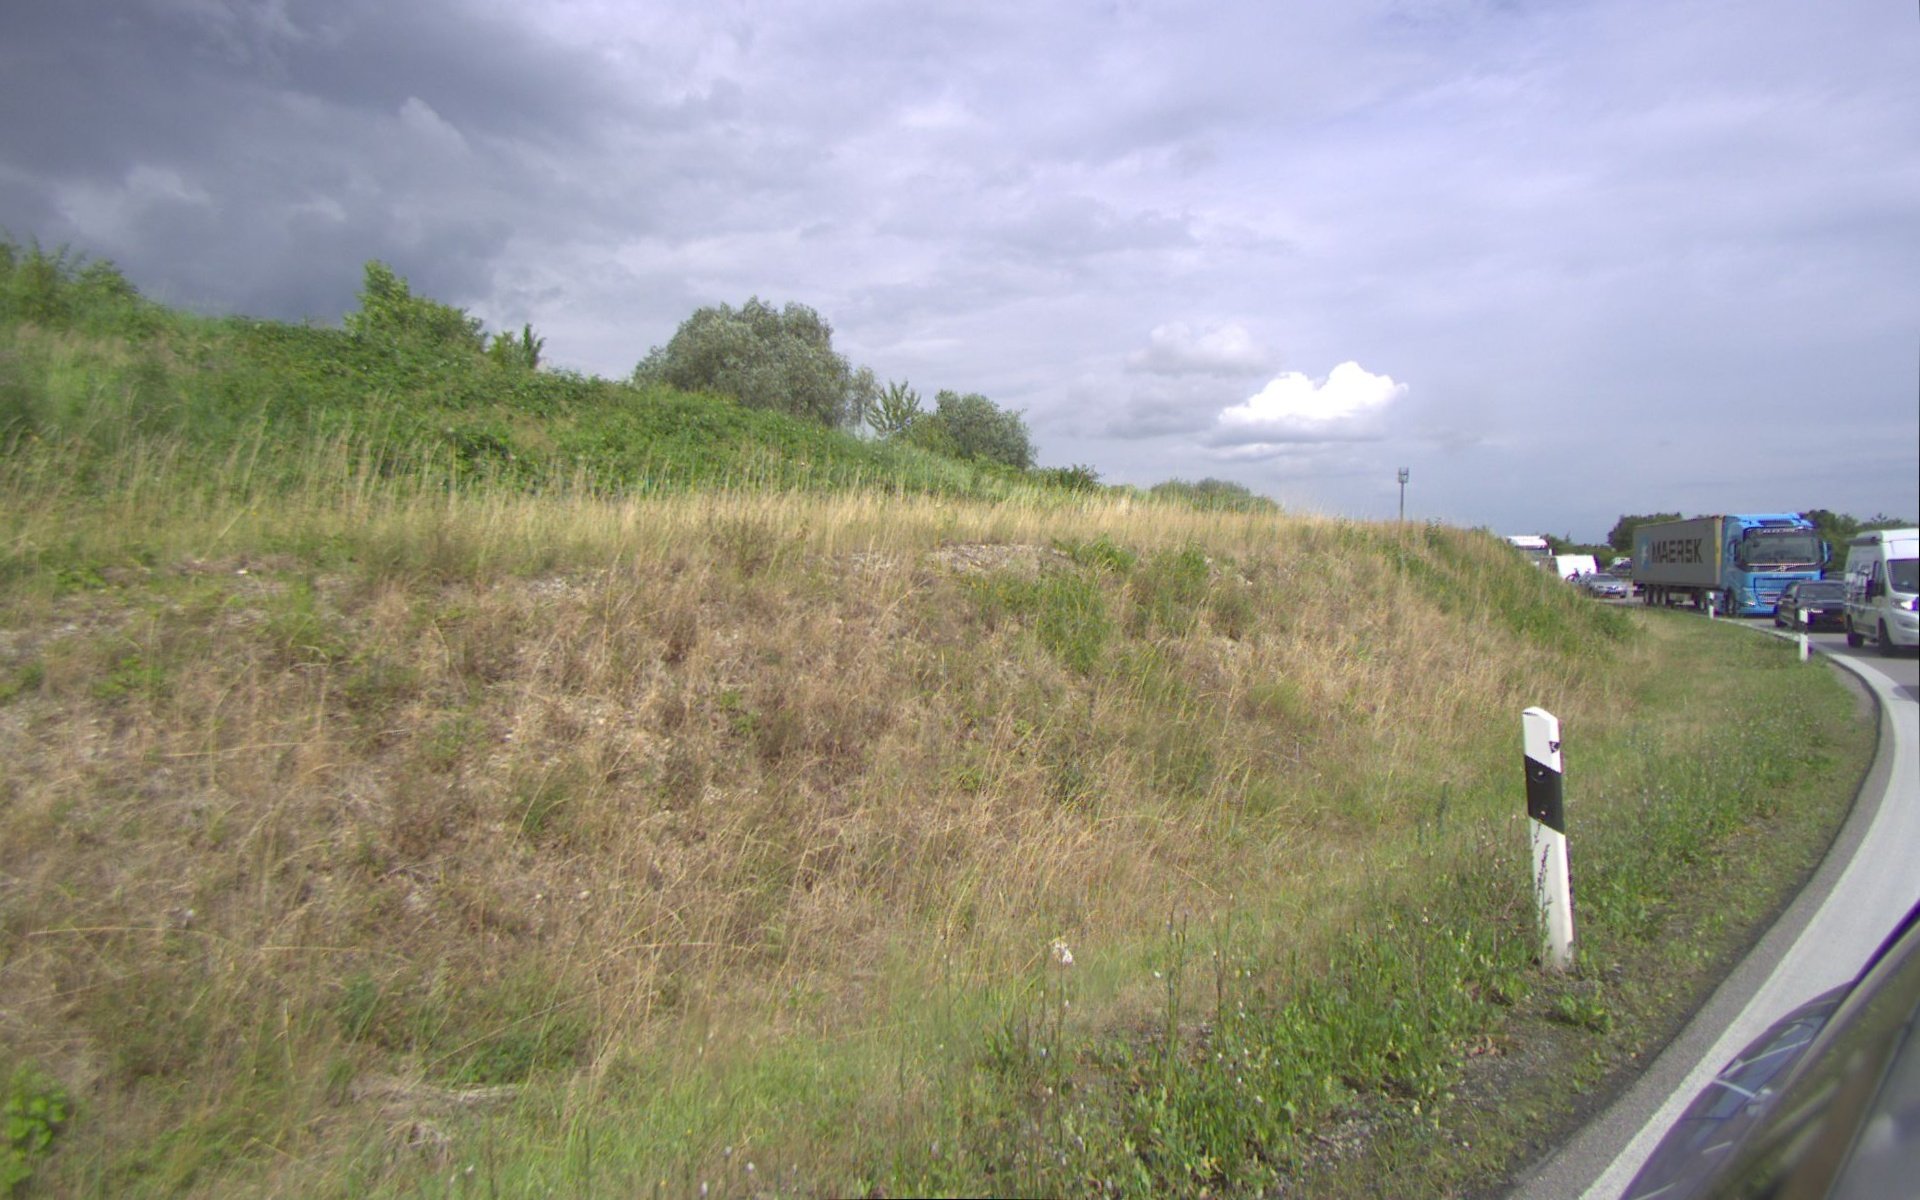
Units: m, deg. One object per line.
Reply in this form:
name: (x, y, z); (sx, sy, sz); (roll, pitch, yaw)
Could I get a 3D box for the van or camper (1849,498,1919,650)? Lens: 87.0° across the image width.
van or camper: (20.948, -0.546, 21.439); (2.382, 2.945, 5.653); (0, 1, 33)

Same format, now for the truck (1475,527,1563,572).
truck: (44.038, -3.888, 80.208); (3.078, 3.279, 11.121); (0, 2, 13)

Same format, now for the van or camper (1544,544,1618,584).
van or camper: (39.701, -2.332, 64.907); (2.517, 2.237, 5.688); (-1, 4, 16)

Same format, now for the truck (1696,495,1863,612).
truck: (31.646, -1.691, 39.470); (3.142, 4.124, 6.600); (0, 1, 21)

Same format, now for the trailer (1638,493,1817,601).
trailer: (34.132, -2.177, 45.726); (3.237, 4.213, 11.933); (0, 1, 21)

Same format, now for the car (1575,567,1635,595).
car: (37.779, -1.151, 59.373); (1.973, 1.548, 3.980); (0, 3, 17)

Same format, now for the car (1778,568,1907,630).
car: (26.082, -0.095, 30.071); (1.981, 1.638, 3.963); (1, 3, 28)
